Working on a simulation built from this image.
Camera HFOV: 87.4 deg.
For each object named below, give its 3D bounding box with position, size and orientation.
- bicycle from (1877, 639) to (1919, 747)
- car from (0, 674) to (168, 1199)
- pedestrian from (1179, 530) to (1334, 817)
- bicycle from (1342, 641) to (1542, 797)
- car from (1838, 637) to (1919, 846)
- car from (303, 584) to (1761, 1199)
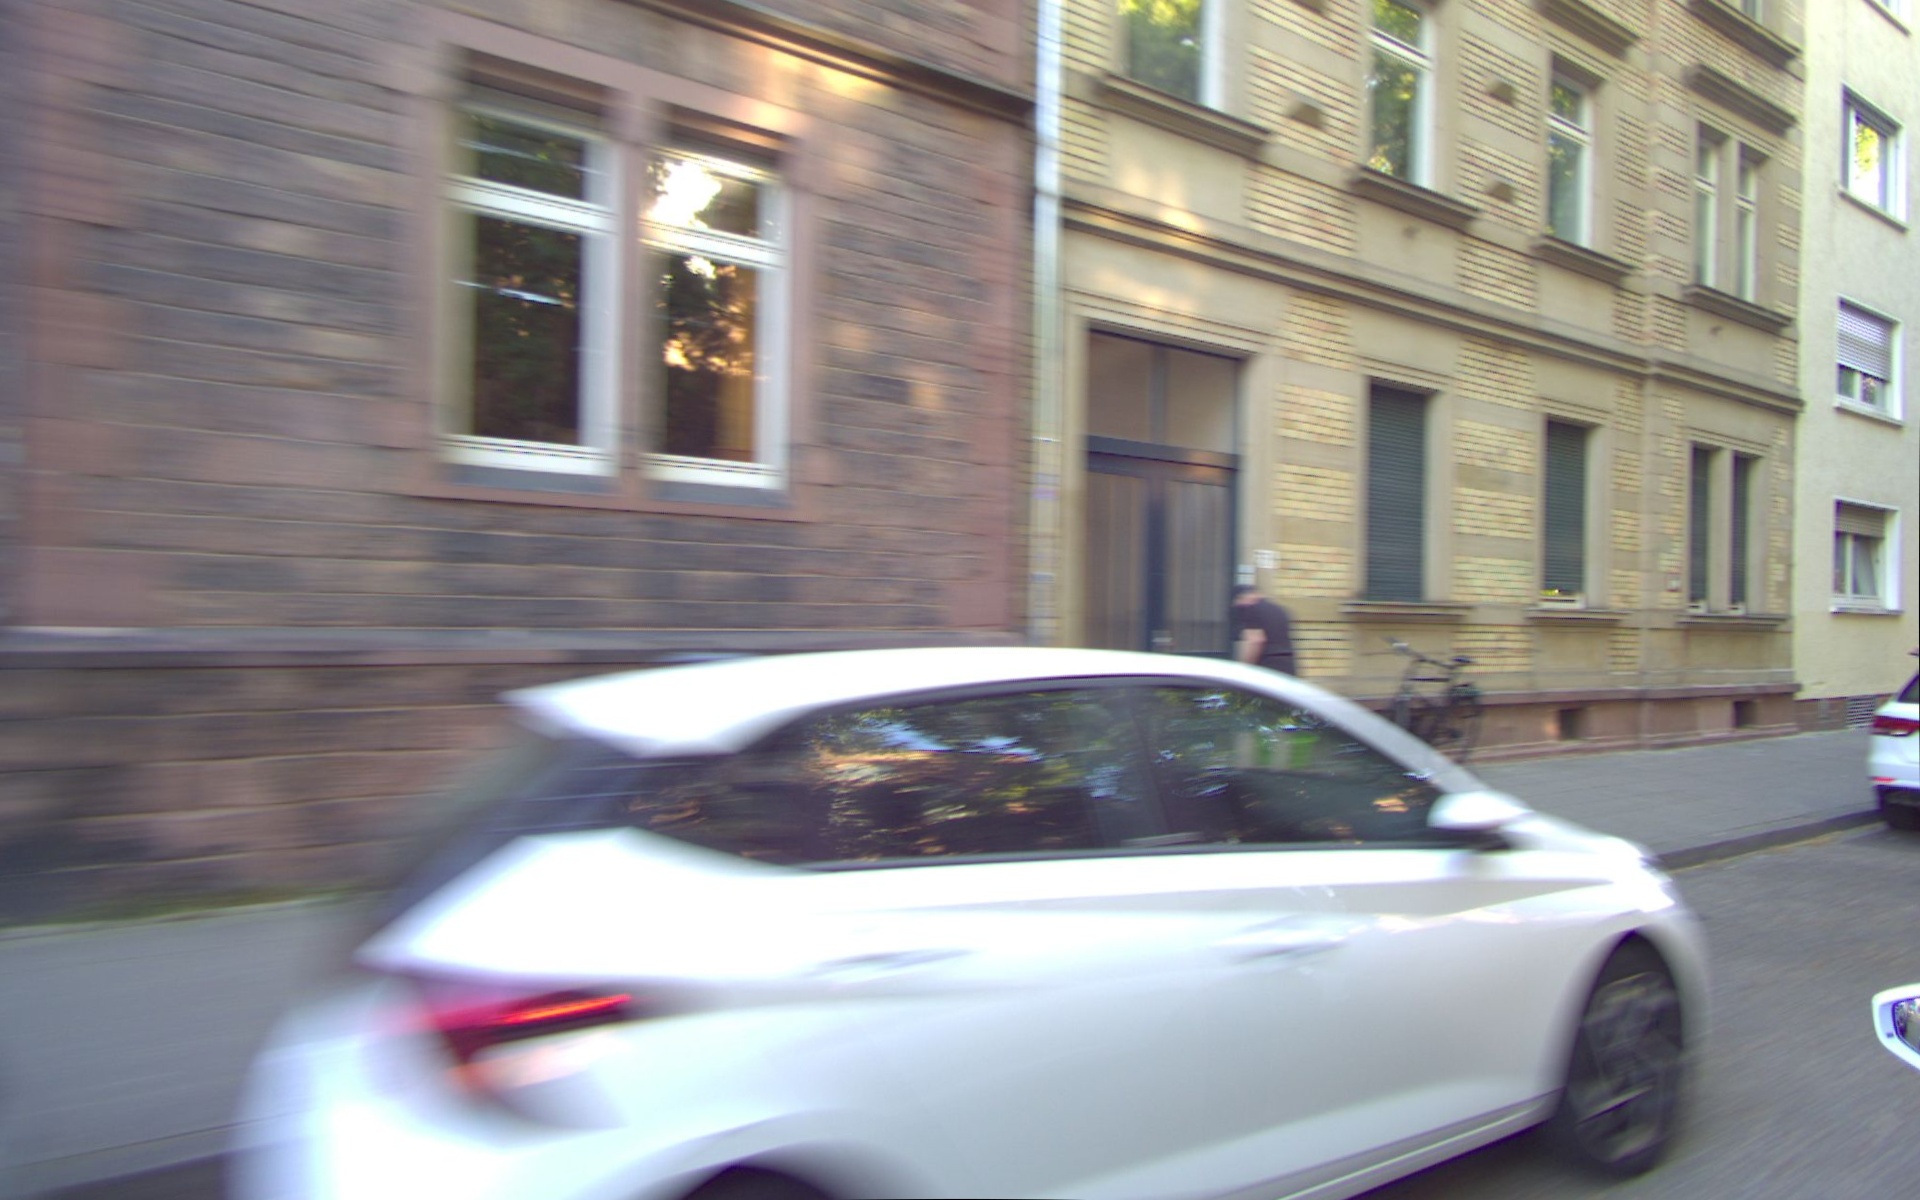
[{"bbox_3d":[12.190,1.141,12.521,1.824,1.260,0.567,1,2,-31],"label":"bicycle"},{"bbox_3d":[-3.214,0.803,0.808,3.758,1.435,1.701,2,-3,-30],"label":"car"},{"bbox_3d":[2.167,0.508,7.371,0.755,1.954,0.761,1,0,-34],"label":"pedestrian"},{"bbox_3d":[4.089,0.950,8.480,1.824,1.163,0.567,1,2,-31],"label":"bicycle"},{"bbox_3d":[8.928,1.038,7.904,4.469,1.475,1.723,2,-3,-31],"label":"car"},{"bbox_3d":[0.416,0.798,2.913,3.758,1.435,1.701,2,-3,-30],"label":"car"}]
